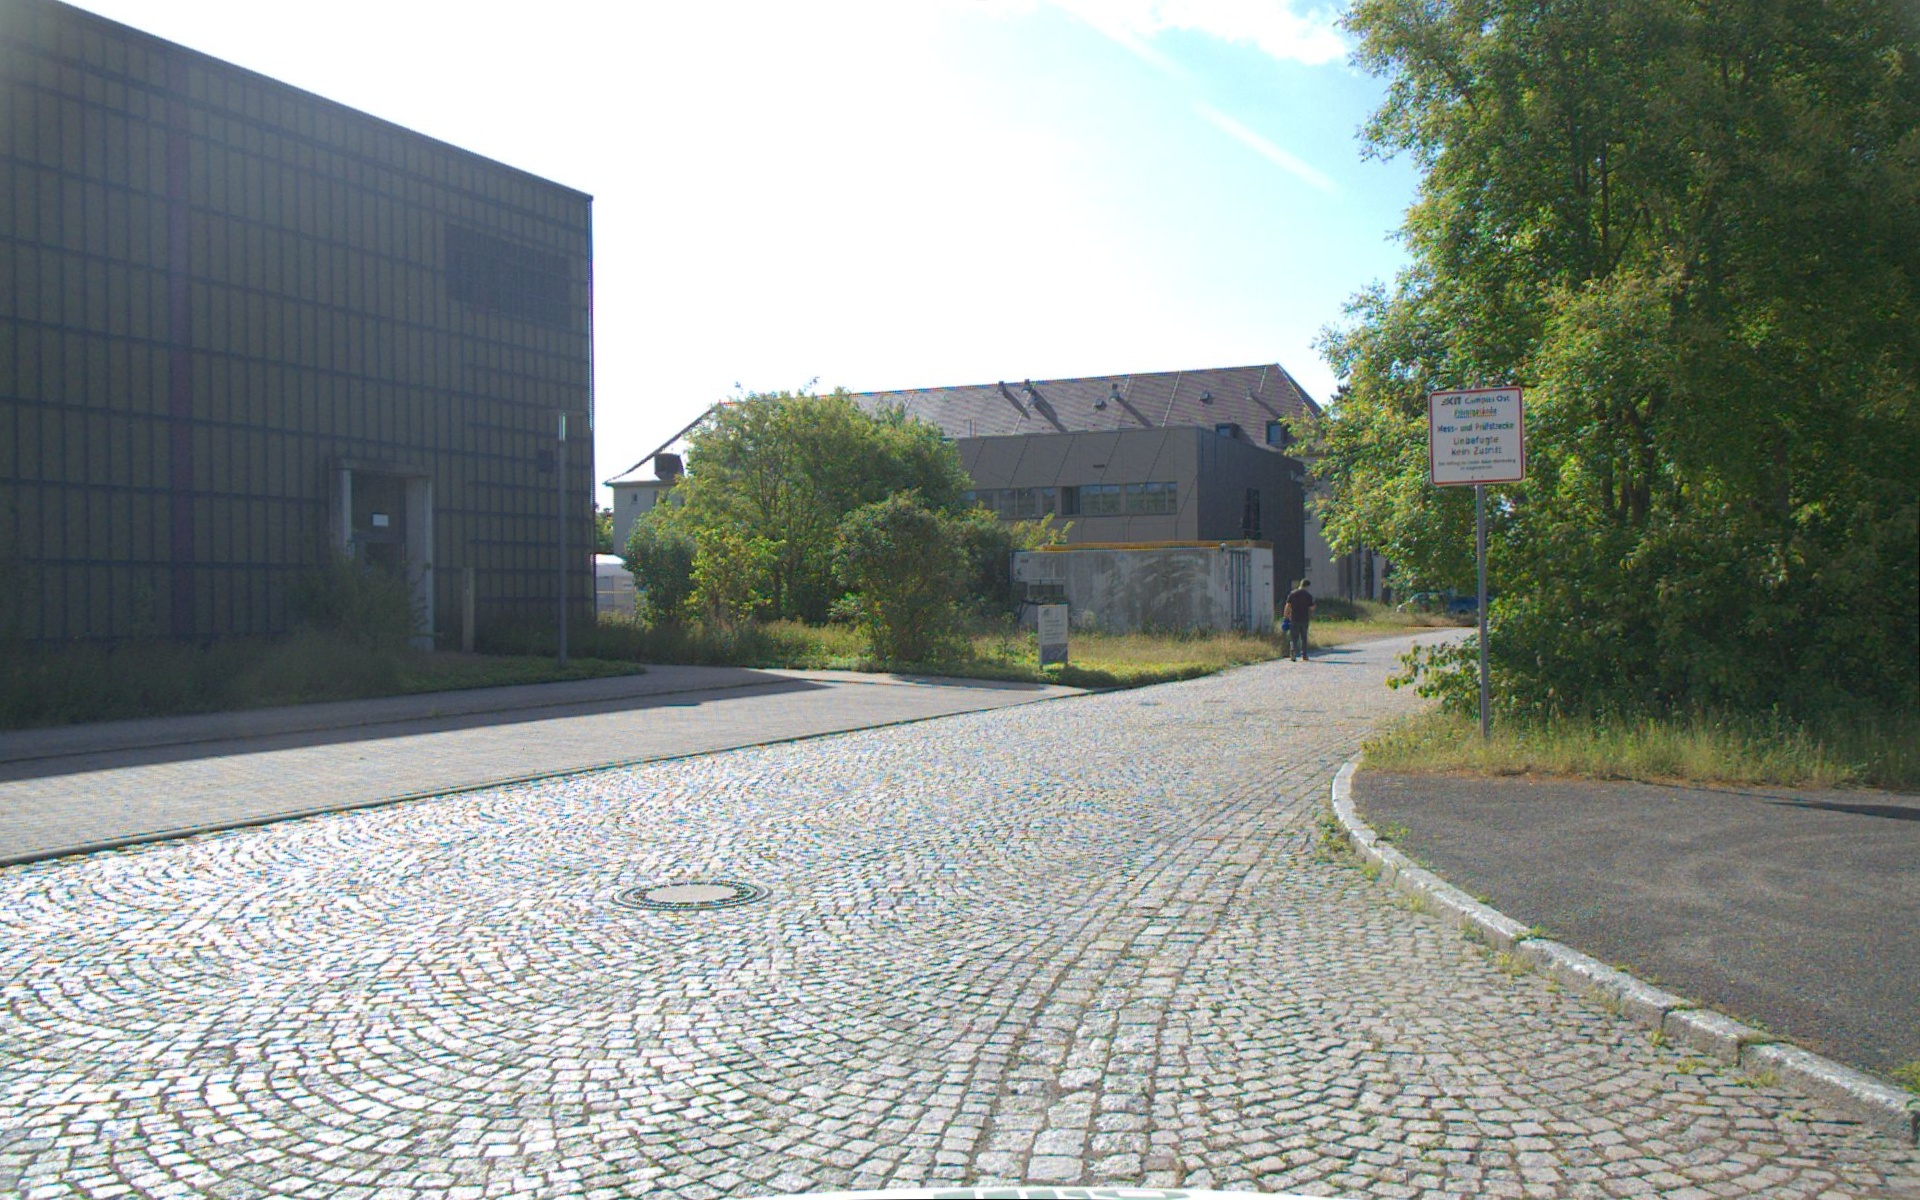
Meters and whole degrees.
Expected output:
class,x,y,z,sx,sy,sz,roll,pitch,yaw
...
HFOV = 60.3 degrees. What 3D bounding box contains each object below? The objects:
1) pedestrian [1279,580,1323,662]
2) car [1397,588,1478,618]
class,x,y,z,sx,sy,sz,roll,pitch,yaw
pedestrian,7.623,0.457,36.945,0.779,1.812,1.068,1,0,22
car,24.068,0.156,83.363,3.754,1.466,1.583,-1,0,22
